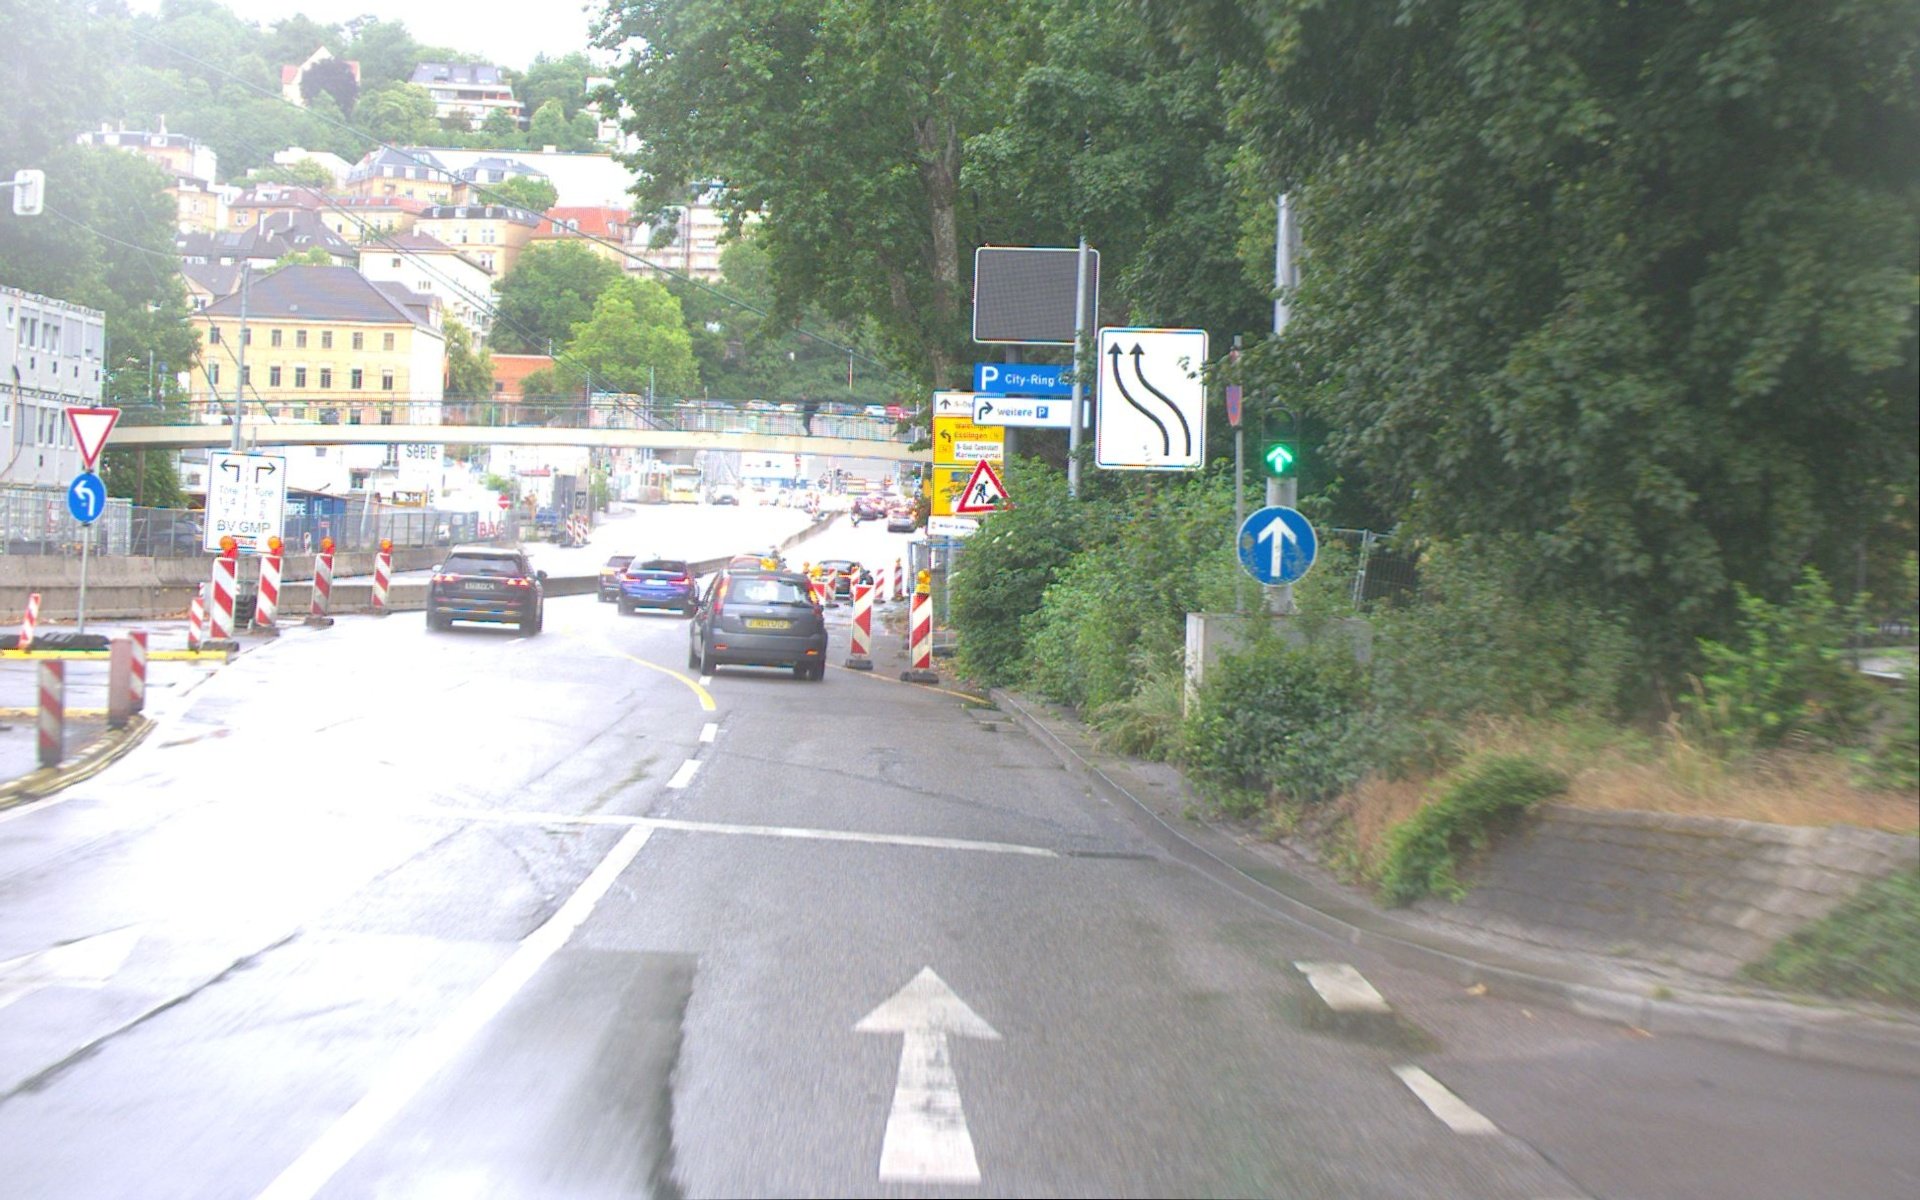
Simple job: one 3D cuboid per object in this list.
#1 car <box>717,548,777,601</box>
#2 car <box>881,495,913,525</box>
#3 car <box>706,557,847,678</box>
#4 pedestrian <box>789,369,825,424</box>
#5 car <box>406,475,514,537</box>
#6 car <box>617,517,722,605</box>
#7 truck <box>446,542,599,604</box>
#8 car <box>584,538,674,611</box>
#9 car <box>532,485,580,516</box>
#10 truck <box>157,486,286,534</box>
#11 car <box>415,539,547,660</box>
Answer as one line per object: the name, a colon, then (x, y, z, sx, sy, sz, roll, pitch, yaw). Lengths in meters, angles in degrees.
car: (-8.221, -1.000, 133.153, 2.051, 2.007, 4.000, 1, 1, 0)
car: (-4.044, -5.770, 220.746, 1.993, 1.863, 4.000, 1, 1, -1)
car: (-2.526, 0.207, 46.734, 1.812, 1.521, 4.001, 1, 1, -4)
pedestrian: (-5.847, -7.778, 131.554, 1.148, 2.053, 1.059, 1, 1, 9)
car: (-24.318, -4.549, 167.446, 1.997, 2.865, 6.043, 2, 1, 28)
car: (-7.038, -0.945, 83.636, 2.105, 2.043, 4.000, 1, 1, 1)
truck: (-18.360, -1.130, 144.455, 6.275, 2.444, 2.695, 1, 1, -6)
car: (-9.548, -0.755, 99.458, 1.994, 2.007, 4.000, 1, 1, 3)
car: (-23.365, -5.785, 198.834, 1.994, 1.616, 4.000, 2, 3, 5)
truck: (-32.690, -3.984, 152.299, 5.246, 2.007, 2.164, 1, 1, -3)
car: (-8.346, -0.043, 60.209, 2.016, 2.007, 4.001, 1, 1, -5)
